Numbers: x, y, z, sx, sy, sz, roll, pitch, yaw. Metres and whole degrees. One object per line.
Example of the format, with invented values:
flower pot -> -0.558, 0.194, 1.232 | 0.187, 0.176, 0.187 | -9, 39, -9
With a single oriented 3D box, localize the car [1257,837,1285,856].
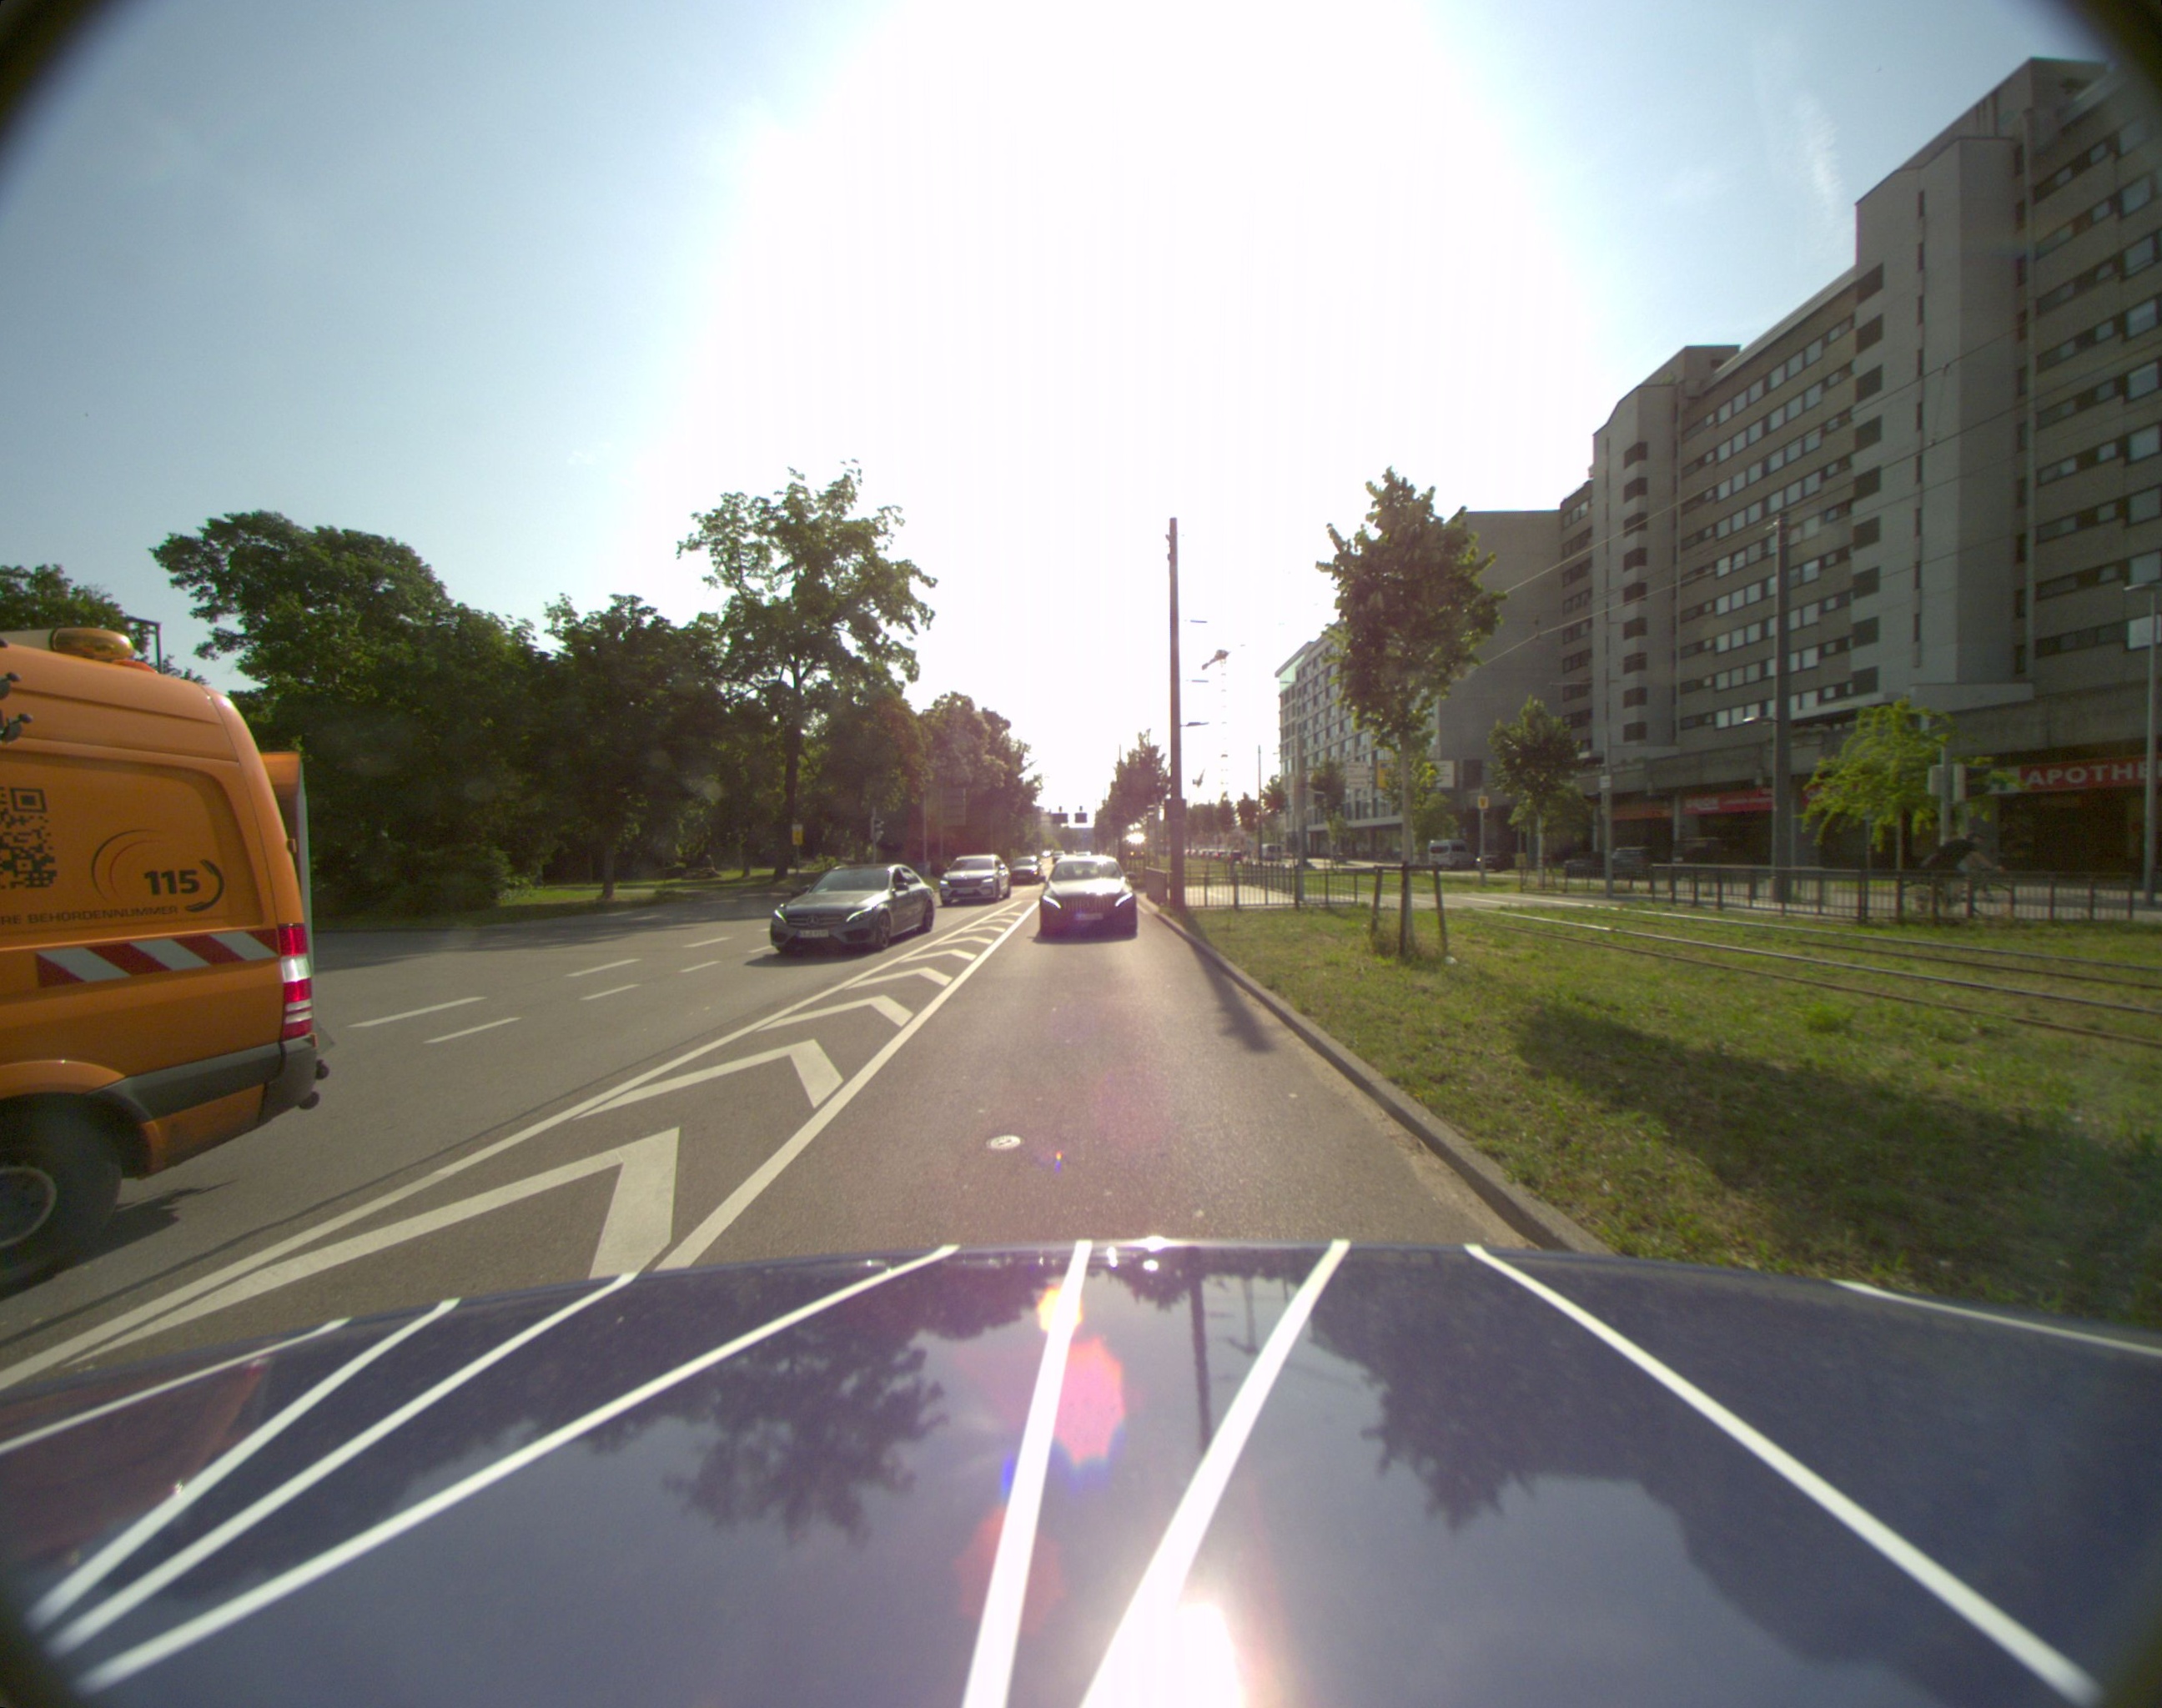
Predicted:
car -> 23.583, -0.928, 94.453 | 2.051, 2.226, 5.333 | -1, 1, -1

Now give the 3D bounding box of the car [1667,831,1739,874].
car -> 30.130, -0.090, 36.775 | 4.119, 1.957, 1.874 | -2, 2, -39

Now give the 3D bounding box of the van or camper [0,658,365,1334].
van or camper -> -5.048, 0.562, 1.058 | 1.990, 2.458, 6.062 | -2, 1, 4

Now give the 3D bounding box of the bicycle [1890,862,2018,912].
bicycle -> 17.667, 0.652, 15.421 | 1.609, 0.930, 0.558 | 2, 0, 21

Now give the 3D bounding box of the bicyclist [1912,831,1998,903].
bicyclist -> 17.699, 0.257, 15.408 | 0.971, 1.387, 0.547 | 2, 1, 20

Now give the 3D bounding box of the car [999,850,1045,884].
car -> -3.014, 0.624, 39.491 | 1.998, 1.630, 3.999 | -1, 1, 0

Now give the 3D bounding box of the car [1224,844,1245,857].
car -> 17.577, -0.444, 87.111 | 1.812, 1.472, 4.000 | -1, 1, 3

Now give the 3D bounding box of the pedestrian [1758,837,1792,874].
pedestrian -> 31.900, 0.058, 34.928 | 0.744, 1.686, 1.115 | -2, 2, -43

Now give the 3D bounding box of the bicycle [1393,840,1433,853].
bicycle -> 37.048, -0.826, 84.855 | 3.994, 1.358, 1.127 | -1, 1, 9

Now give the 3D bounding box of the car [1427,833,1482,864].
car -> 29.620, -0.471, 60.179 | 5.419, 2.295, 1.879 | -2, 2, -40

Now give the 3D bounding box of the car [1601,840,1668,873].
car -> 29.320, 0.113, 40.238 | 4.119, 1.597, 1.874 | -2, 1, -39

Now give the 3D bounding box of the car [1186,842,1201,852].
car -> 17.939, -1.157, 121.600 | 1.787, 1.516, 3.999 | -1, 1, 1

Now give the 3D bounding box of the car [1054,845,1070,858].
car -> -2.384, -0.290, 96.458 | 1.905, 1.585, 3.999 | -1, 1, 0

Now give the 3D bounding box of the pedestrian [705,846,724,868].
pedestrian -> -31.577, 0.244, 65.450 | 0.983, 1.820, 1.072 | 0, 2, 30

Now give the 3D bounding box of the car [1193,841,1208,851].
car -> 17.967, -1.169, 114.441 | 1.812, 1.466, 4.000 | -1, 1, 3

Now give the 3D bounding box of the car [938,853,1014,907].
car -> -3.506, 0.825, 26.161 | 1.897, 1.561, 4.249 | -2, 1, 1

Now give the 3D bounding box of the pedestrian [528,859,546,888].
pedestrian -> -29.208, 1.027, 40.818 | 0.668, 1.509, 0.535 | 0, 2, 32

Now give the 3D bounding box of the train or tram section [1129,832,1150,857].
train or tram section -> 8.066, -1.350, 105.756 | 2.500, 3.410, 6.668 | -1, 1, 1

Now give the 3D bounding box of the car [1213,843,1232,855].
car -> 17.661, -0.673, 94.903 | 1.745, 1.478, 3.641 | -1, 1, 3

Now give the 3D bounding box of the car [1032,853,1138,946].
car -> 0.108, 0.799, 15.535 | 1.760, 1.437, 4.617 | -4, 1, 1

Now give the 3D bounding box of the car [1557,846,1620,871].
car -> 29.305, 0.241, 43.822 | 4.118, 1.237, 1.874 | -4, 1, -39

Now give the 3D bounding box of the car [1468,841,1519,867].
car -> 29.086, 0.000, 53.530 | 2.097, 1.573, 4.007 | -3, 1, 44

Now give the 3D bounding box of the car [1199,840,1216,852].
car -> 17.754, -1.114, 106.756 | 1.812, 1.565, 4.000 | -1, 1, 3
